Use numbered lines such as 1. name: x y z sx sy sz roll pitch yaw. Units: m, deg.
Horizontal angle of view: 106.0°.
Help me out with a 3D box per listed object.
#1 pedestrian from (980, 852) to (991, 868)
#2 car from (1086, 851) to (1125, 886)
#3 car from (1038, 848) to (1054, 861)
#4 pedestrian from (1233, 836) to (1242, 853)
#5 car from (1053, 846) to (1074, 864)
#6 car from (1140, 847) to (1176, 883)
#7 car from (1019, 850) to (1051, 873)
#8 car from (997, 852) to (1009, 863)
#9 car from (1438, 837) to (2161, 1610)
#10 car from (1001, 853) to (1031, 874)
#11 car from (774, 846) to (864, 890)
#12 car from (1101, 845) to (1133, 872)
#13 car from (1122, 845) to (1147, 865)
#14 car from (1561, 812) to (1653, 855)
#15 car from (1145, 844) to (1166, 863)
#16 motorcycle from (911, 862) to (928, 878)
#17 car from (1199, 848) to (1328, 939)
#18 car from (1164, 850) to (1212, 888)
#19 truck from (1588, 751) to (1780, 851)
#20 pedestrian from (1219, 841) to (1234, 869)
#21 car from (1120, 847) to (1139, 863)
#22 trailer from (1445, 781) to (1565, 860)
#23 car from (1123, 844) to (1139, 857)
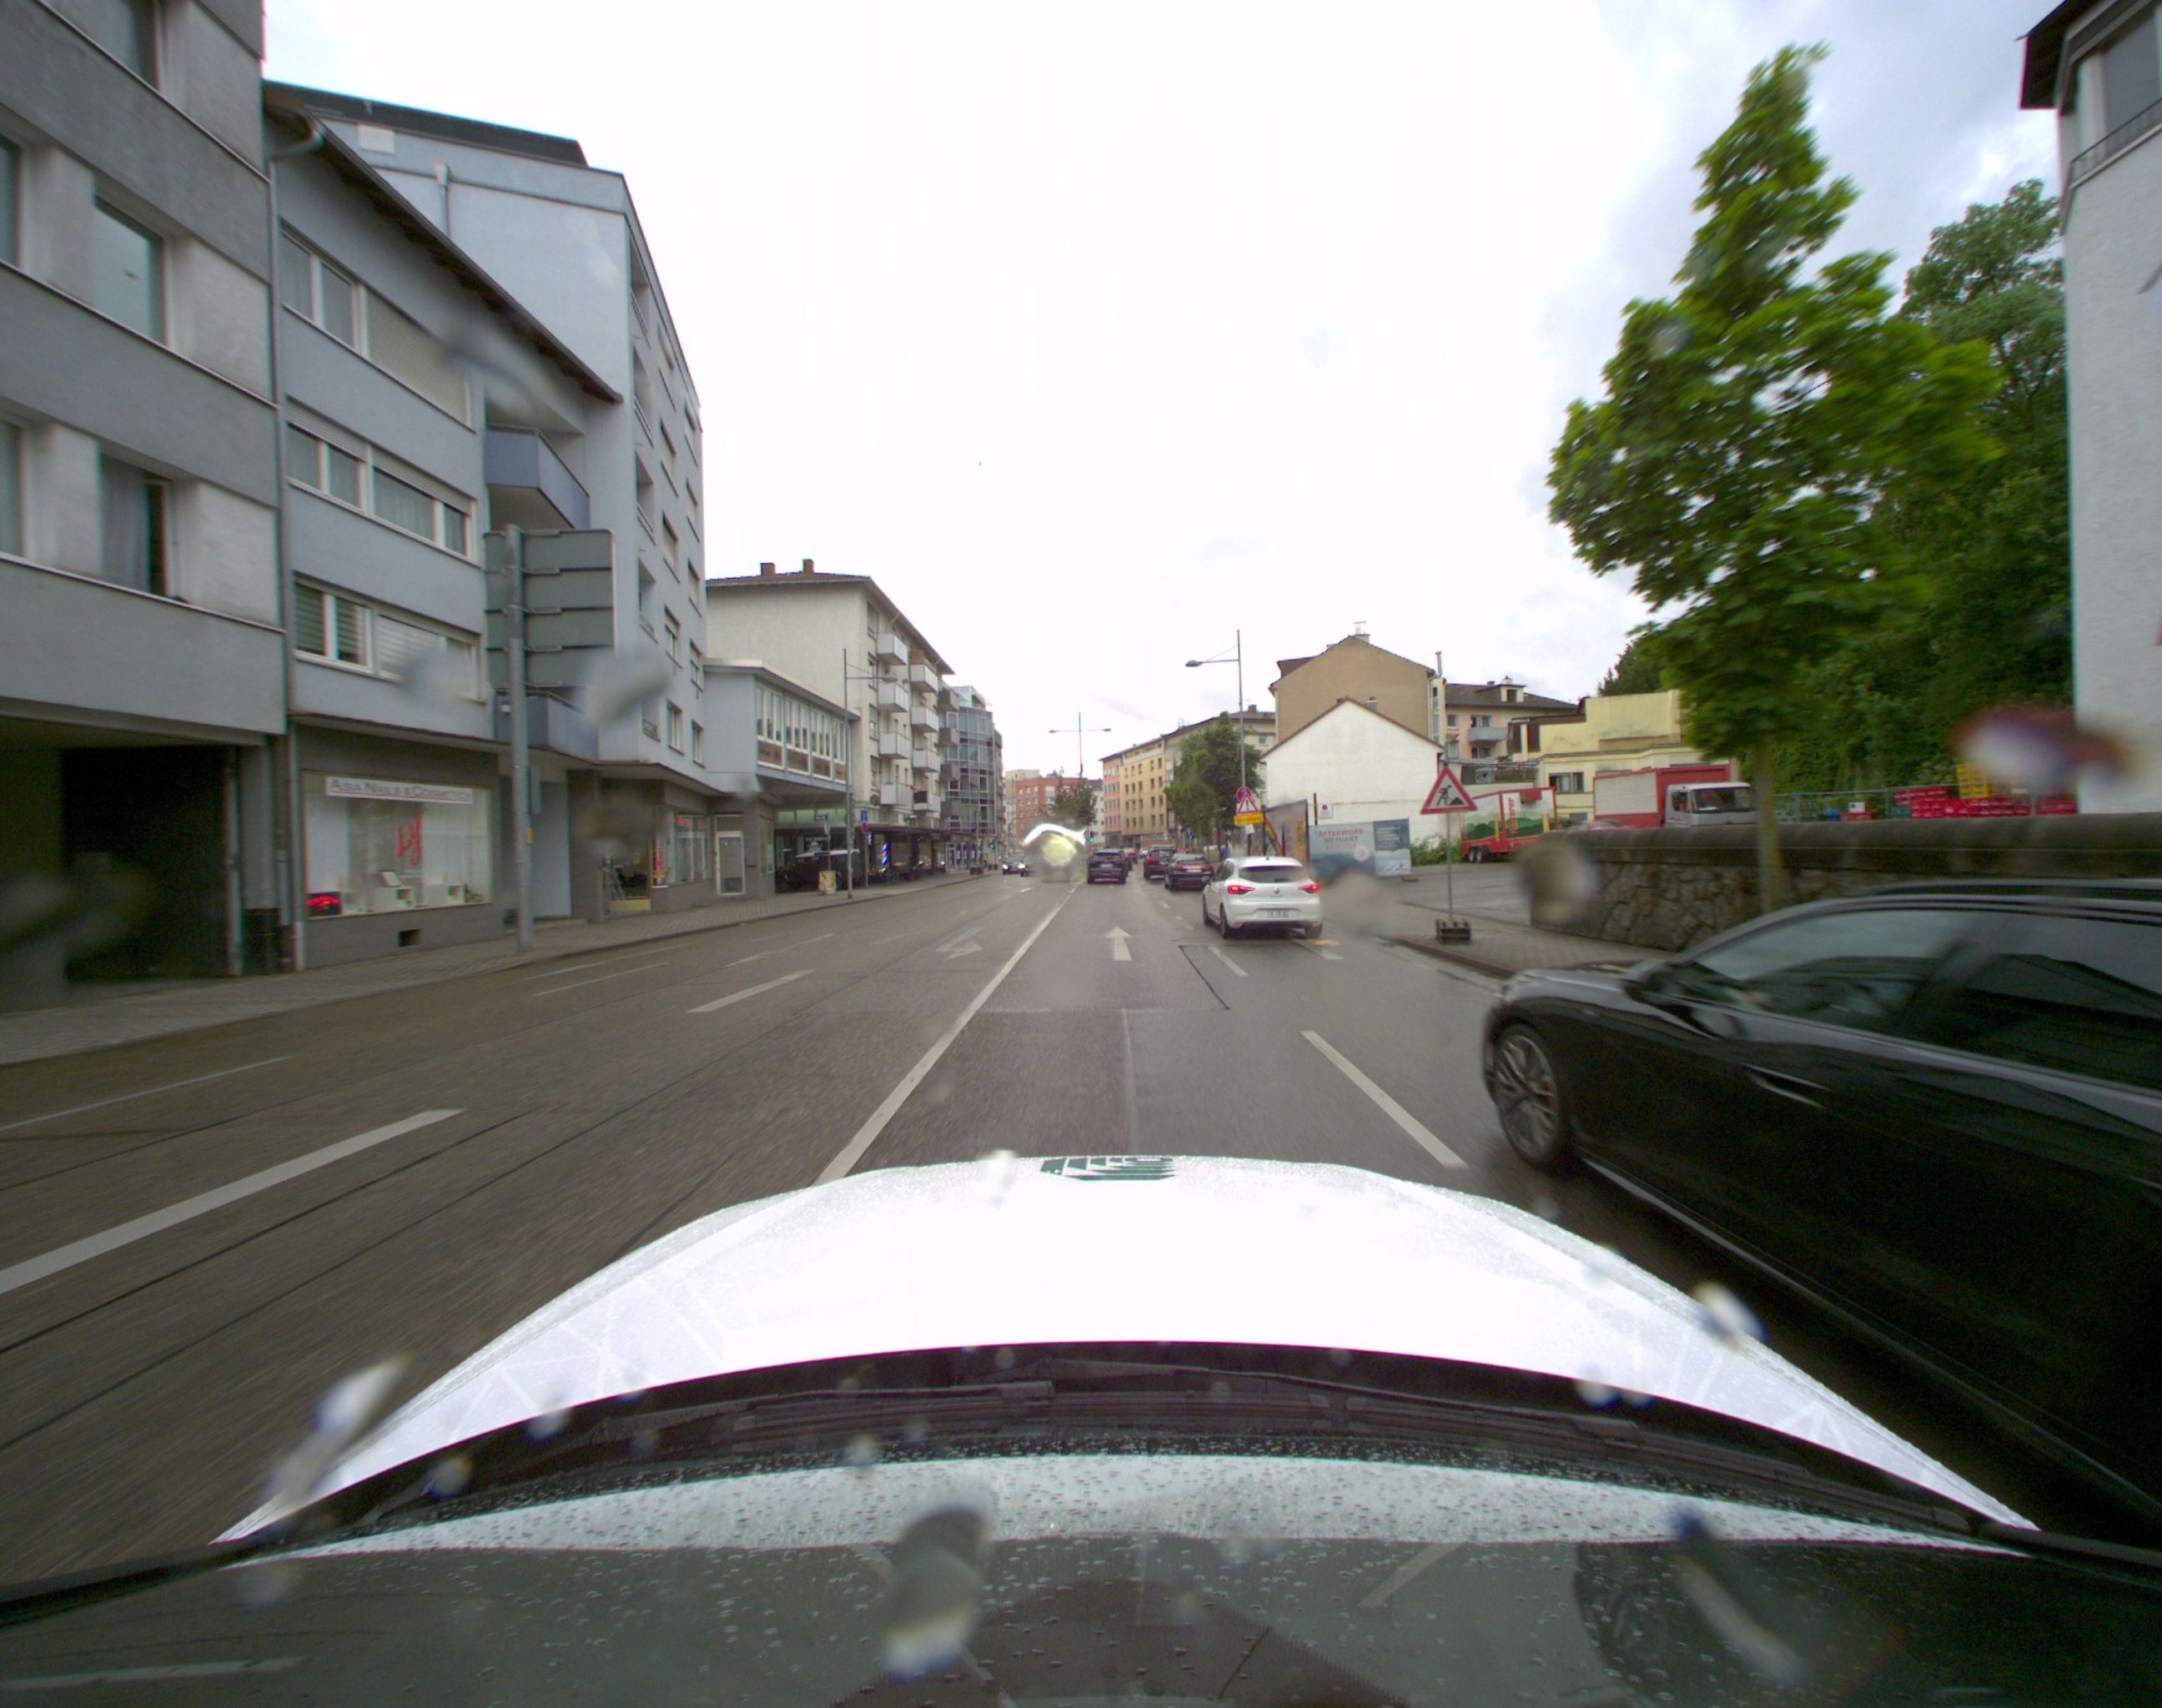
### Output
1. pedestrian: -9.911 0.656 84.530 0.786 1.591 0.755 -3 0 -35
2. car: 1.212 0.679 39.545 1.816 1.600 3.721 0 0 3
3. car: -4.205 0.066 98.277 1.626 1.408 3.439 -4 0 2
4. pedestrian: 19.081 -1.149 99.488 0.823 2.013 0.835 0 1 -17
5. car: -1.717 0.100 80.842 1.677 1.661 4.099 -4 0 3
6. car: 4.085 0.525 43.799 1.822 1.805 3.723 0 1 4
7. car: -3.162 0.462 56.862 1.714 1.423 4.167 -4 0 2
8. car: -11.383 0.505 118.522 1.455 1.430 3.360 0 1 -9
9. car: 2.937 0.686 2.437 1.783 1.403 4.635 -3 0 2
10. car: -5.182 0.719 65.286 1.701 1.467 4.832 -4 0 3
11. car: -13.295 0.690 41.461 3.947 2.034 1.581 -2 0 2
12. car: 2.190 0.245 49.210 1.816 1.600 3.721 0 0 3
13. car: 3.939 0.055 60.766 1.635 1.381 3.349 -3 0 1
14. car: 19.879 -0.742 30.933 1.581 1.456 3.270 -3 0 6
15. car: 6.683 -0.052 73.164 1.821 1.683 3.725 0 1 6
16. motorcycle: -10.201 0.999 51.595 0.523 0.995 2.138 0 0 4
17. car: 3.312 0.644 15.473 1.659 1.396 3.868 1 1 1
18. car: 4.238 0.555 32.733 1.777 1.400 3.725 -1 0 6
19. truck: 22.545 -1.809 31.032 2.618 3.215 6.942 -4 0 6
20. pedestrian: 9.252 0.066 51.821 0.785 1.755 0.875 -3 0 15
21. car: 4.586 0.091 77.624 1.635 1.381 3.349 -3 0 1
22. trailer: 16.653 -1.248 32.355 2.117 2.716 5.398 -4 1 4
23. car: 5.659 -0.358 92.214 1.635 1.381 3.349 -3 0 1
